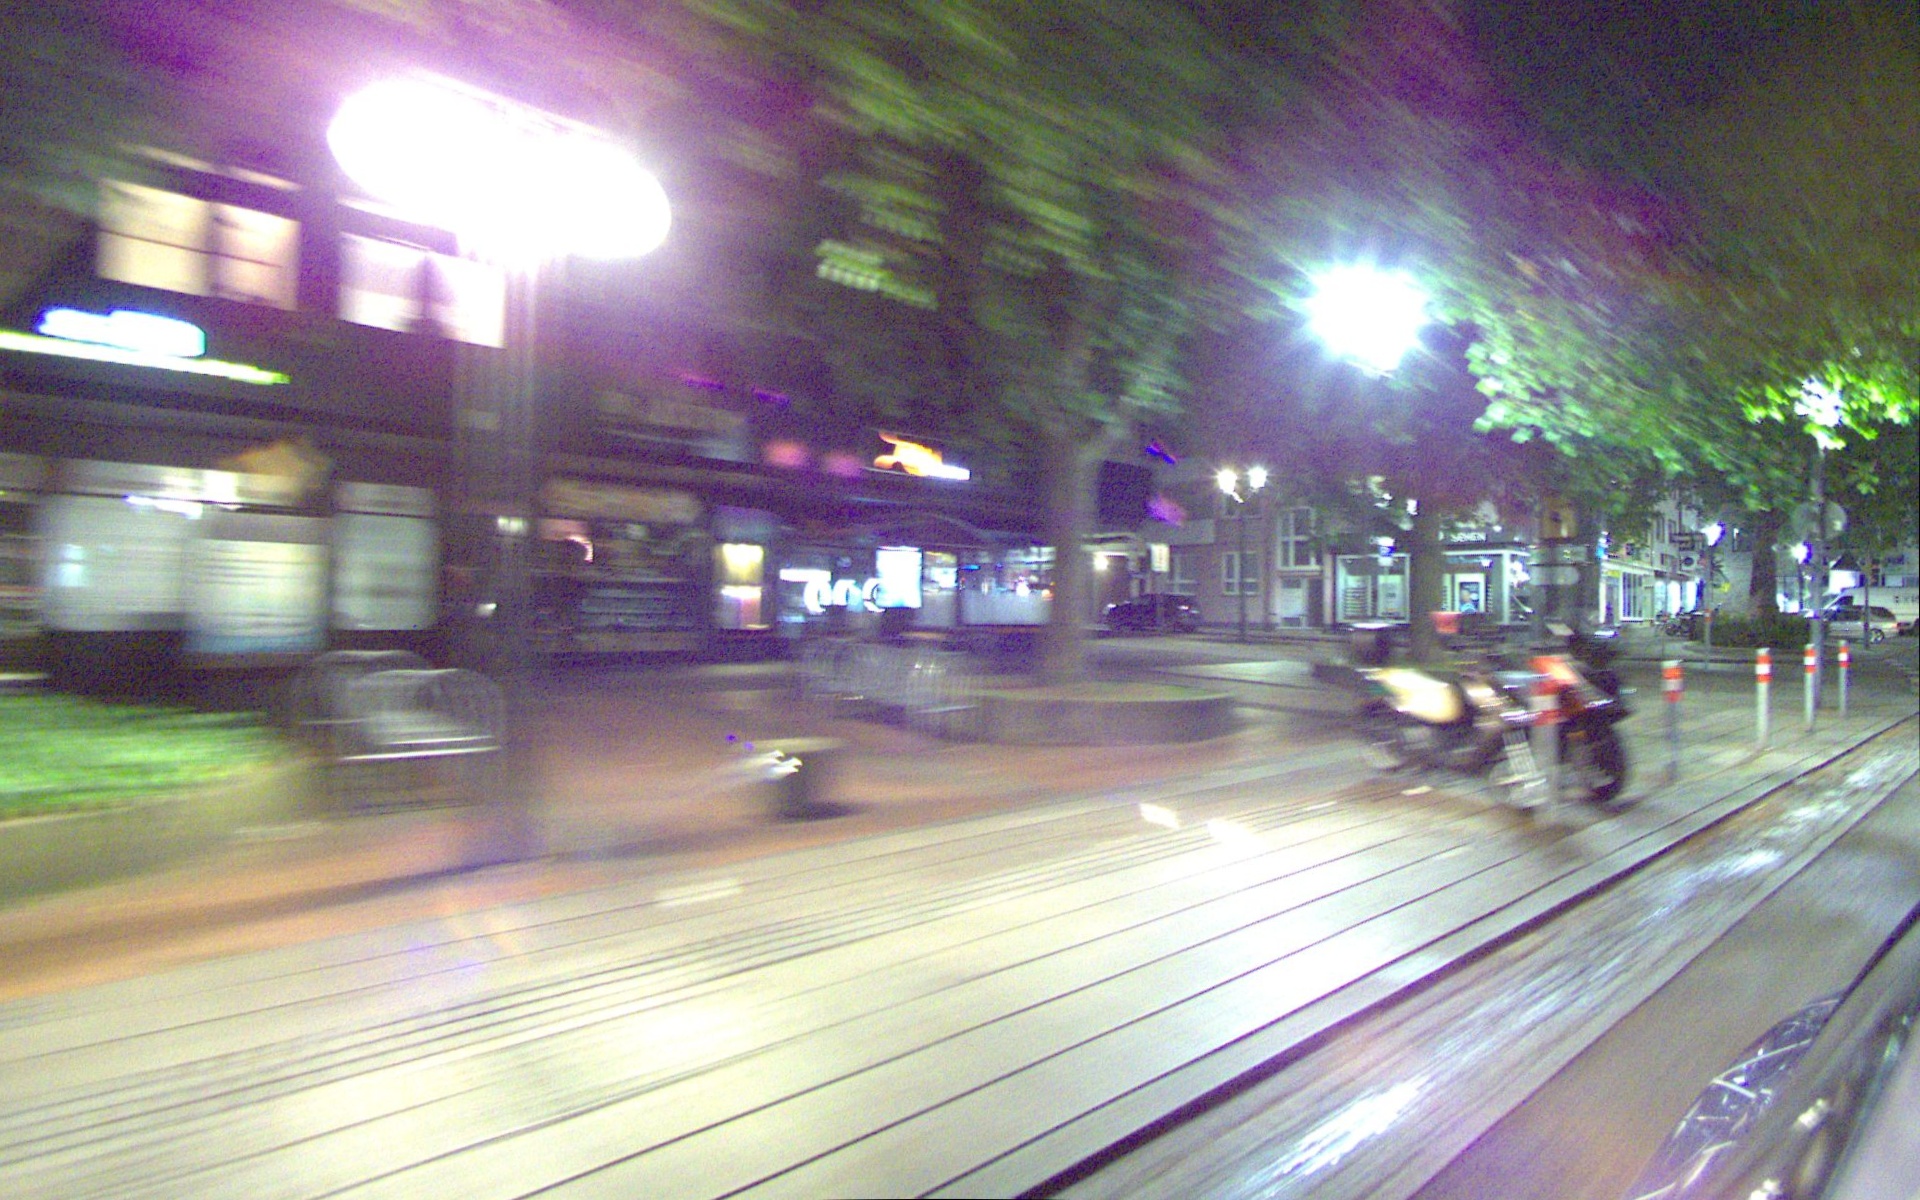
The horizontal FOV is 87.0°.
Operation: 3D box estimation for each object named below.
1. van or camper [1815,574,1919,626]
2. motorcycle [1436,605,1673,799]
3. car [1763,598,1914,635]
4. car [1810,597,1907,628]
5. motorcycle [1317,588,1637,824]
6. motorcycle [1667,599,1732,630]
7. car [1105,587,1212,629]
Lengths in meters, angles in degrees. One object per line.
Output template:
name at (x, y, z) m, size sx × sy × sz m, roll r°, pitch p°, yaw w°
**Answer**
van or camper at (47.383, -0.019, 51.143) m, size 5.971 × 2.565 × 2.150 m, roll 0°, pitch 0°, yaw 18°
motorcycle at (4.663, 0.720, 8.154) m, size 0.505 × 1.314 × 2.172 m, roll 0°, pitch 1°, yaw -4°
car at (36.590, 0.667, 42.264) m, size 4.479 × 1.474 × 1.630 m, roll 0°, pitch -1°, yaw 14°
car at (44.206, 0.582, 49.854) m, size 3.140 × 1.474 × 1.683 m, roll 0°, pitch 0°, yaw 21°
motorcycle at (3.558, 0.626, 7.271) m, size 0.647 × 1.409 × 2.276 m, roll 0°, pitch 1°, yaw -16°
motorcycle at (30.762, 0.595, 42.118) m, size 2.183 × 1.287 × 0.531 m, roll 0°, pitch -1°, yaw 6°
car at (8.104, 0.313, 41.552) m, size 1.868 × 1.610 × 3.992 m, roll 2°, pitch 0°, yaw -42°
